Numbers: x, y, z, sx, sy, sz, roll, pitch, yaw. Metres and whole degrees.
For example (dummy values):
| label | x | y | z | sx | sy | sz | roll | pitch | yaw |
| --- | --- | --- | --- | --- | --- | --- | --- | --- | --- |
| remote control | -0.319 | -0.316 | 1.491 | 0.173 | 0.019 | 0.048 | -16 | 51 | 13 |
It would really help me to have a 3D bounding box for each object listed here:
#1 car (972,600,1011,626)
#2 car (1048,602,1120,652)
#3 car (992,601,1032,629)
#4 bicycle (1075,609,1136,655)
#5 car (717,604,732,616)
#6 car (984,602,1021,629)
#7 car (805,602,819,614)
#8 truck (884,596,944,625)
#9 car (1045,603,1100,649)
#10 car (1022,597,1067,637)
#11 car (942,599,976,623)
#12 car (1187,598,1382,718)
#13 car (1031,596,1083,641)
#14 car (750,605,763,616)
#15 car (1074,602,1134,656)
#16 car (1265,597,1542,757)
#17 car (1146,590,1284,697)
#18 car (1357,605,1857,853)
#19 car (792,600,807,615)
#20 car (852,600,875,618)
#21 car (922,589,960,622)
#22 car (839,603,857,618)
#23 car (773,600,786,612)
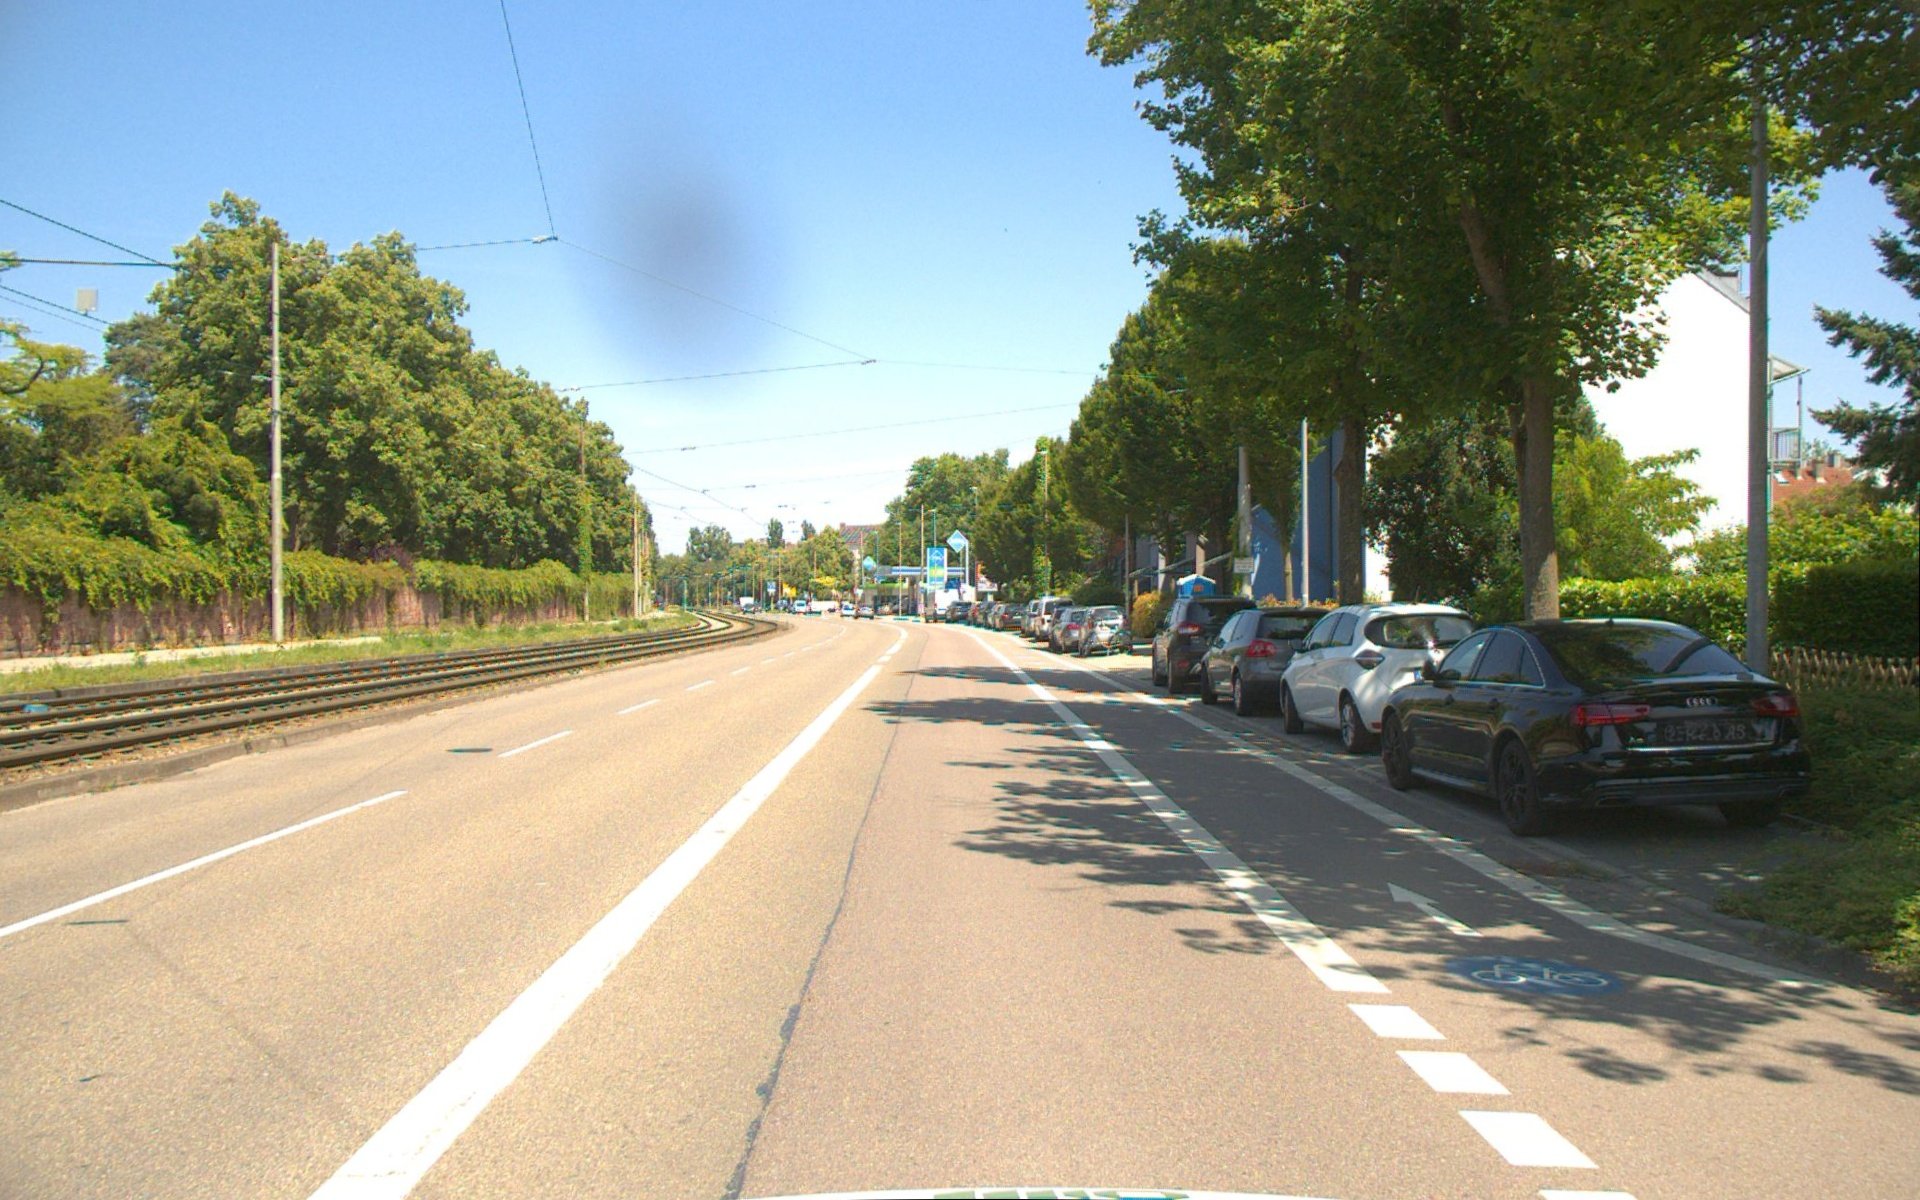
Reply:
| label | x | y | z | sx | sy | sz | roll | pitch | yaw |
| --- | --- | --- | --- | --- | --- | --- | --- | --- | --- |
| car | 1.979 | 0.834 | 106.362 | 1.676 | 1.589 | 4.314 | -2 | 0 | -10 |
| car | 4.235 | 0.911 | 57.200 | 1.804 | 1.556 | 4.962 | -2 | 0 | -3 |
| car | 2.971 | 0.837 | 95.198 | 1.673 | 1.518 | 5.033 | -2 | 0 | -5 |
| bicycle | 4.391 | 0.968 | 50.156 | 1.737 | 1.249 | 0.684 | -5 | -1 | 3 |
| car | -35.772 | 1.522 | 251.180 | 1.727 | 1.659 | 4.307 | -2 | 0 | -15 |
| car | 2.593 | 0.931 | 101.177 | 1.674 | 1.518 | 4.726 | -2 | 0 | -5 |
| car | -21.563 | 1.170 | 240.998 | 1.724 | 1.659 | 4.314 | -2 | 0 | -10 |
| truck | -6.069 | 1.377 | 216.640 | 7.810 | 3.665 | 2.661 | 0 | 0 | -4 |
| car | 4.187 | 0.944 | 62.235 | 1.803 | 1.556 | 4.216 | -2 | 0 | 1 |
| car | 3.976 | 0.771 | 78.359 | 1.803 | 1.724 | 4.778 | -2 | 0 | 0 |
| car | -0.092 | 0.818 | 122.220 | 1.724 | 1.659 | 4.314 | -2 | 0 | -10 |
| car | 4.714 | 0.782 | 24.645 | 1.804 | 1.556 | 4.351 | -2 | 0 | -3 |
| car | 4.194 | 0.755 | 72.178 | 1.804 | 1.825 | 4.352 | -2 | 0 | -2 |
| car | -31.603 | 1.648 | 256.349 | 1.724 | 1.659 | 4.314 | -2 | 0 | -10 |
| car | 4.517 | 0.879 | 52.196 | 1.488 | 1.556 | 3.816 | -2 | 0 | -1 |
| car | 4.933 | 0.784 | 19.022 | 1.804 | 1.556 | 4.203 | -2 | 0 | -3 |
| car | 4.566 | 0.727 | 30.279 | 1.803 | 1.736 | 4.626 | -2 | 0 | 1 |
| car | 4.695 | 0.826 | 12.919 | 1.804 | 1.461 | 4.822 | -2 | 0 | -3 |
| car | -22.188 | 1.010 | 228.731 | 1.724 | 1.907 | 4.314 | -2 | 0 | -10 |
| car | -9.257 | 0.833 | 158.733 | 1.724 | 1.659 | 4.314 | -2 | 0 | -10 |
| car | -1.564 | 0.461 | 132.314 | 1.965 | 2.500 | 6.093 | -2 | 0 | -11 |
| car | -13.072 | 1.235 | 192.582 | 1.723 | 1.659 | 4.316 | -2 | 0 | -8 |
| car | -25.942 | 0.797 | 237.349 | 1.723 | 1.659 | 4.316 | -2 | 0 | -8 |
